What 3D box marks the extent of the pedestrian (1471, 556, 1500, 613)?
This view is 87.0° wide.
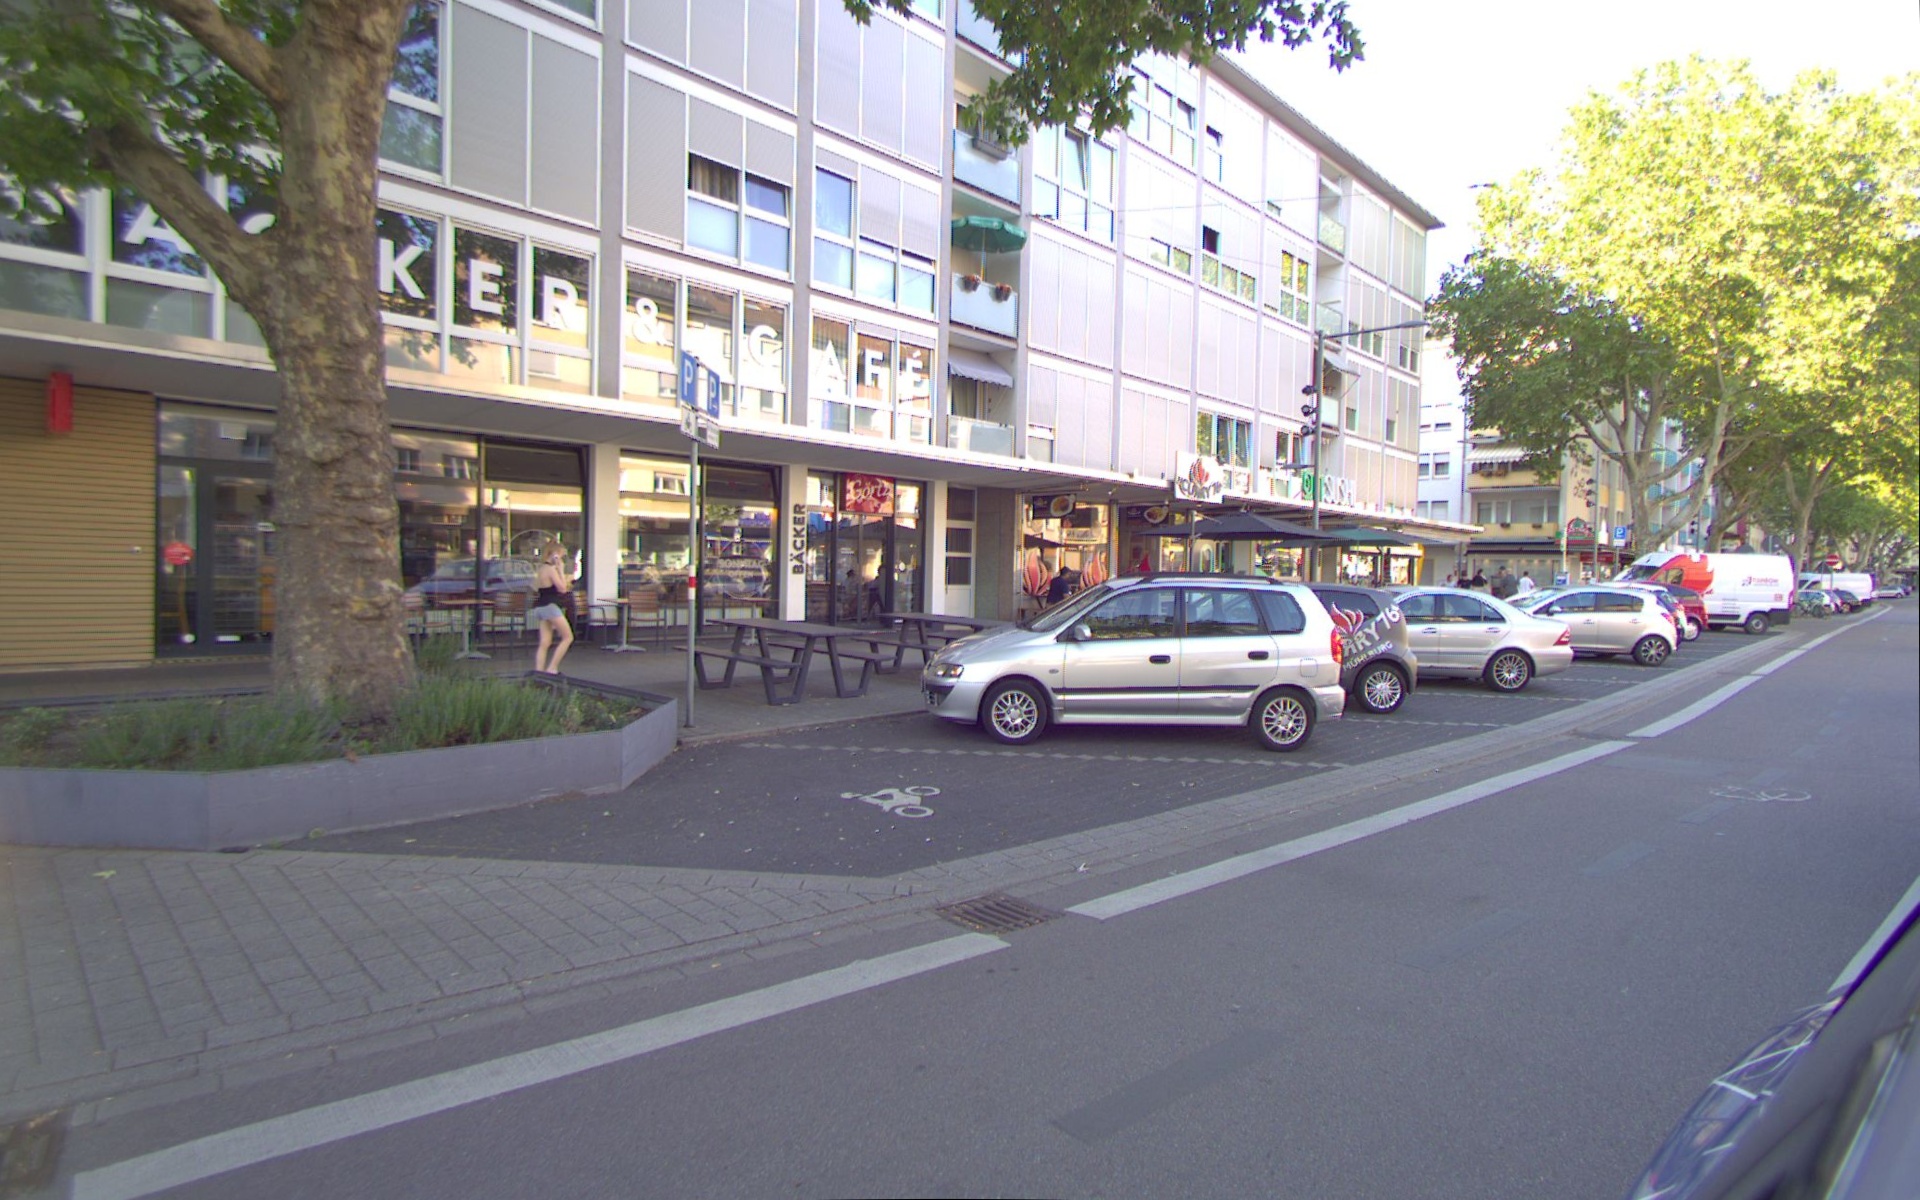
[{"bbox_3d":[18.959,-0.568,36.494,0.746,2.000,0.566,3,2,45],"label":"pedestrian"}]

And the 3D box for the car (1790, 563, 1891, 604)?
[{"bbox_3d":[56.587,-1.065,65.102,4.512,2.499,1.977,1,2,3],"label":"car"}]

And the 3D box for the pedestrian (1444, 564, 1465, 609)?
[{"bbox_3d":[18.565,-0.520,37.986,0.536,1.660,0.470,2,2,45],"label":"pedestrian"}]

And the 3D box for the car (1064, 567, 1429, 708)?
[{"bbox_3d":[3.350,0.406,12.324,3.864,1.446,1.679,2,3,-3],"label":"car"}]

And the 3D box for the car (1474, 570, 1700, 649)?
[{"bbox_3d":[13.917,0.154,22.711,3.886,1.446,1.670,3,3,16],"label":"car"}]

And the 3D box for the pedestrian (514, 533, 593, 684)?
[{"bbox_3d":[-4.462,0.080,11.108,0.559,1.596,0.632,2,2,44],"label":"pedestrian"}]

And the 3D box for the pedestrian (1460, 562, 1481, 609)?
[{"bbox_3d":[18.964,-0.540,37.572,0.544,1.741,0.450,2,2,45],"label":"pedestrian"}]

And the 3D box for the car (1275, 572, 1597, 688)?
[{"bbox_3d":[6.835,0.394,14.823,3.867,1.418,1.598,2,3,1],"label":"car"}]

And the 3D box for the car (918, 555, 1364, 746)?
[{"bbox_3d":[1.589,0.421,9.820,3.906,1.560,1.679,2,3,-3],"label":"car"}]

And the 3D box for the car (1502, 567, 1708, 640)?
[{"bbox_3d":[15.923,0.050,25.202,3.888,1.445,1.669,4,5,17],"label":"car"}]

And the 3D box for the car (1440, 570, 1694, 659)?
[{"bbox_3d":[11.765,0.242,19.808,3.871,1.446,1.559,3,3,4],"label":"car"}]

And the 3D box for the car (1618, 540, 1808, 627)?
[{"bbox_3d":[23.775,-0.540,32.067,4.514,2.525,1.675,2,1,5],"label":"car"}]

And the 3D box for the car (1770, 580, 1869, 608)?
[{"bbox_3d":[48.047,-0.346,56.616,3.864,1.422,1.782,1,2,3],"label":"car"}]

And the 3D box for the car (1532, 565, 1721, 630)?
[{"bbox_3d":[18.075,-0.105,27.634,3.888,1.445,1.669,4,5,17],"label":"car"}]

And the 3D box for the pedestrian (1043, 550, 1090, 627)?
[{"bbox_3d":[2.252,-0.254,21.383,0.757,1.602,0.583,0,2,-39],"label":"pedestrian"}]

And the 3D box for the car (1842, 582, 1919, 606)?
[{"bbox_3d":[56.295,-0.366,61.412,3.864,1.350,1.782,1,2,3],"label":"car"}]

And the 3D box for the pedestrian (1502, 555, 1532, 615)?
[{"bbox_3d":[19.237,-0.536,34.940,0.746,2.038,0.550,3,2,45],"label":"pedestrian"}]

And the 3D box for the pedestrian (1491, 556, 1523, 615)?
[{"bbox_3d":[19.345,-0.527,35.796,0.746,2.038,0.752,3,2,45],"label":"pedestrian"}]
